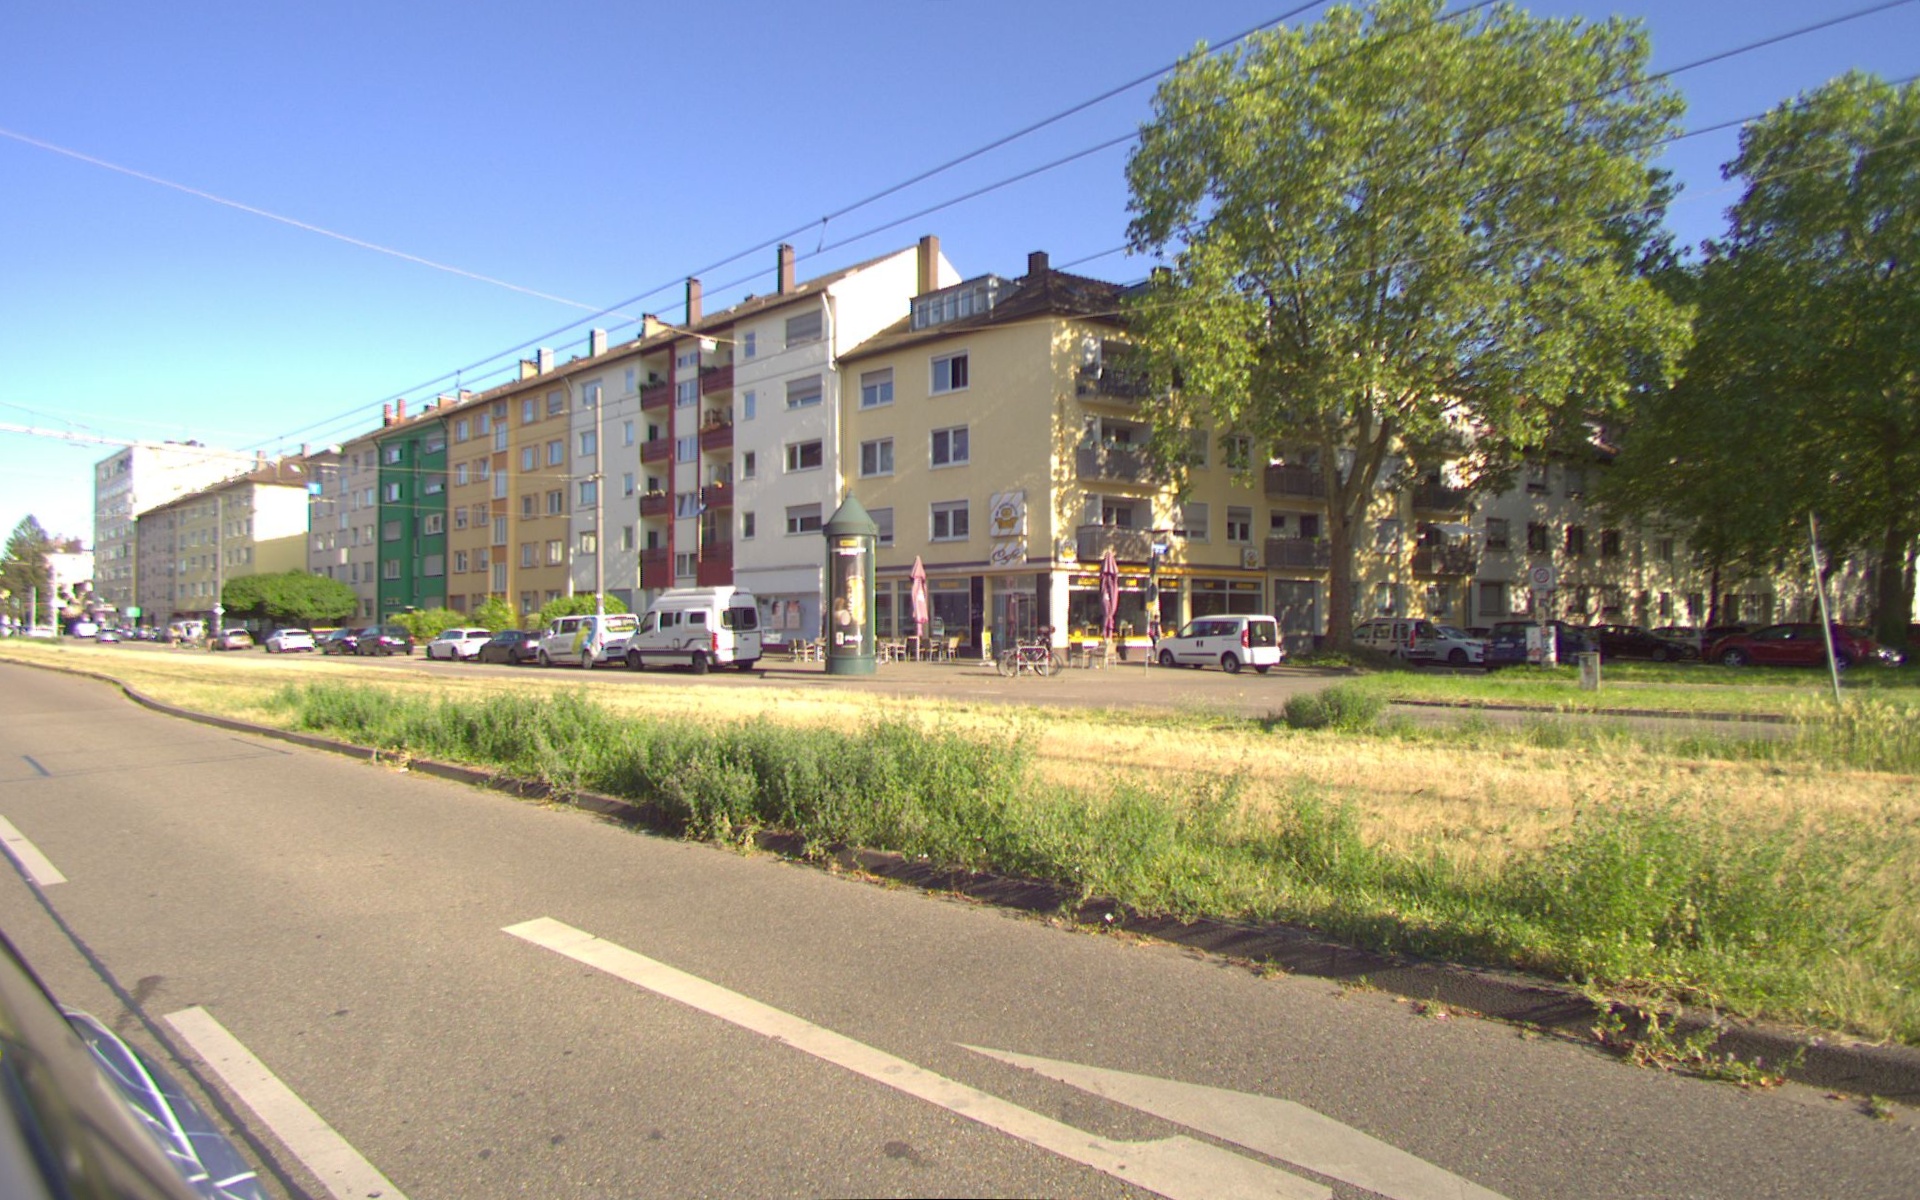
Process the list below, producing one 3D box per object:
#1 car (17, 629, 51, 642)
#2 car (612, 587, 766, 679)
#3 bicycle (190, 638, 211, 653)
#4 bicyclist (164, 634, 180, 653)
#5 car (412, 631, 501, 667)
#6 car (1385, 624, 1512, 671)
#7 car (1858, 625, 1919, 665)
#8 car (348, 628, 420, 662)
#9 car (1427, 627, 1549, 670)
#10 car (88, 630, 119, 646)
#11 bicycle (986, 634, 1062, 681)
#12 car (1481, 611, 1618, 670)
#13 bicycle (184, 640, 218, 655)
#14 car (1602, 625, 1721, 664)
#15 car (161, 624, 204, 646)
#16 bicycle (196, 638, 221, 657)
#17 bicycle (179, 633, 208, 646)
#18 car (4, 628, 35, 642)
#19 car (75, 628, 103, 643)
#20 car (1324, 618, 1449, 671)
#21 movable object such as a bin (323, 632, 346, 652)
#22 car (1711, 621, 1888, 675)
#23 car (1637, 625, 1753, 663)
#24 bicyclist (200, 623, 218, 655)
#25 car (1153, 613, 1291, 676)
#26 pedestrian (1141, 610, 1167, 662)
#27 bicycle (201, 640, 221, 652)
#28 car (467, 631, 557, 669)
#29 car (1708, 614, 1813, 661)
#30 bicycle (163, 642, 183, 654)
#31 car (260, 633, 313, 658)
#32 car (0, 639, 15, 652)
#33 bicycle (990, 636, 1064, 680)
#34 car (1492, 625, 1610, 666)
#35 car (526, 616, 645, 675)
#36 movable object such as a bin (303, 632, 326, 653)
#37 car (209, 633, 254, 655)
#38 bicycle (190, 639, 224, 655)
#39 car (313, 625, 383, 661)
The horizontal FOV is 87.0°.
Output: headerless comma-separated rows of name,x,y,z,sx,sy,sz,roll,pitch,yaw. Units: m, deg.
car,-101.903,3.872,111.357,4.404,1.395,1.818,-2,-3,35
car,-9.376,1.104,34.673,6.226,2.890,2.011,-2,-1,42
bicycle,-56.468,3.362,75.211,1.928,1.101,0.506,-2,0,30
bicyclist,-57.247,3.144,73.550,0.648,1.394,0.765,-2,-3,41
car,-23.160,2.210,46.524,4.698,1.503,1.874,-2,0,39
car,19.003,1.815,39.510,1.966,1.677,4.074,2,-2,-29
car,35.041,1.599,36.213,1.559,1.392,4.011,1,-3,-33
car,-30.157,2.316,52.908,4.148,1.620,1.973,-2,0,41
car,21.313,1.925,40.968,1.850,1.582,4.012,3,-2,-29
car,-81.538,3.593,96.360,4.215,1.459,1.676,-2,-4,42
bicycle,1.788,1.597,28.122,2.065,1.261,0.518,-1,0,7
car,17.285,1.164,29.646,3.932,1.613,1.755,1,-3,-31
bicycle,-59.369,3.703,79.190,2.024,1.101,0.616,-2,0,-44
car,32.485,2.047,46.971,1.966,1.677,4.074,2,-2,-29
car,-75.642,3.418,98.449,5.492,1.964,1.975,-2,0,38
bicycle,-48.406,3.051,65.188,2.473,1.155,0.760,-2,-4,41
bicycle,-72.669,3.695,95.976,0.472,1.114,2.076,-2,0,41
car,-107.109,3.963,115.223,4.406,1.540,1.767,-2,-3,36
car,-115.259,4.720,133.907,4.664,1.912,1.974,-2,0,39
car,16.167,1.664,38.542,1.966,1.857,4.012,3,-2,-29
movable object such as a bin,-44.911,2.989,72.677,1.039,1.378,1.134,-1,1,43
car,24.592,1.365,29.778,1.618,1.391,3.659,-2,0,-32
car,35.303,2.091,48.739,1.966,1.677,4.074,2,-2,-29
bicyclist,-48.562,2.523,65.424,0.648,2.029,0.765,-2,0,41
car,8.520,1.407,33.200,1.967,1.840,4.010,-2,0,-35
pedestrian,6.927,1.266,36.139,0.831,1.799,0.686,-2,0,10
bicycle,-56.172,3.426,75.922,2.046,0.872,0.374,-2,0,30
car,-18.991,2.090,42.867,4.320,1.526,1.678,-2,-1,38
car,29.951,1.392,37.858,3.932,1.697,1.755,1,-3,-31
bicycle,-57.188,3.500,73.556,2.068,0.886,0.760,-2,-4,41
car,-42.038,2.820,63.126,4.374,1.465,1.711,-2,-1,41
car,-118.132,5.554,124.624,4.235,1.562,1.838,-2,-4,39
bicycle,1.893,1.638,28.663,2.065,1.193,0.518,0,0,7
car,25.361,1.951,43.558,1.850,1.626,4.012,3,-2,-29
car,-14.567,1.717,39.191,5.369,2.036,2.011,-2,0,42
movable object such as a bin,-45.729,3.023,71.685,1.039,1.378,1.134,-1,1,43
car,-51.680,3.117,71.757,3.730,1.453,1.620,-2,0,39
bicycle,-57.712,3.582,77.572,2.024,1.101,0.616,-2,0,-44
car,-33.984,2.351,56.185,4.606,1.851,1.973,-2,0,41
